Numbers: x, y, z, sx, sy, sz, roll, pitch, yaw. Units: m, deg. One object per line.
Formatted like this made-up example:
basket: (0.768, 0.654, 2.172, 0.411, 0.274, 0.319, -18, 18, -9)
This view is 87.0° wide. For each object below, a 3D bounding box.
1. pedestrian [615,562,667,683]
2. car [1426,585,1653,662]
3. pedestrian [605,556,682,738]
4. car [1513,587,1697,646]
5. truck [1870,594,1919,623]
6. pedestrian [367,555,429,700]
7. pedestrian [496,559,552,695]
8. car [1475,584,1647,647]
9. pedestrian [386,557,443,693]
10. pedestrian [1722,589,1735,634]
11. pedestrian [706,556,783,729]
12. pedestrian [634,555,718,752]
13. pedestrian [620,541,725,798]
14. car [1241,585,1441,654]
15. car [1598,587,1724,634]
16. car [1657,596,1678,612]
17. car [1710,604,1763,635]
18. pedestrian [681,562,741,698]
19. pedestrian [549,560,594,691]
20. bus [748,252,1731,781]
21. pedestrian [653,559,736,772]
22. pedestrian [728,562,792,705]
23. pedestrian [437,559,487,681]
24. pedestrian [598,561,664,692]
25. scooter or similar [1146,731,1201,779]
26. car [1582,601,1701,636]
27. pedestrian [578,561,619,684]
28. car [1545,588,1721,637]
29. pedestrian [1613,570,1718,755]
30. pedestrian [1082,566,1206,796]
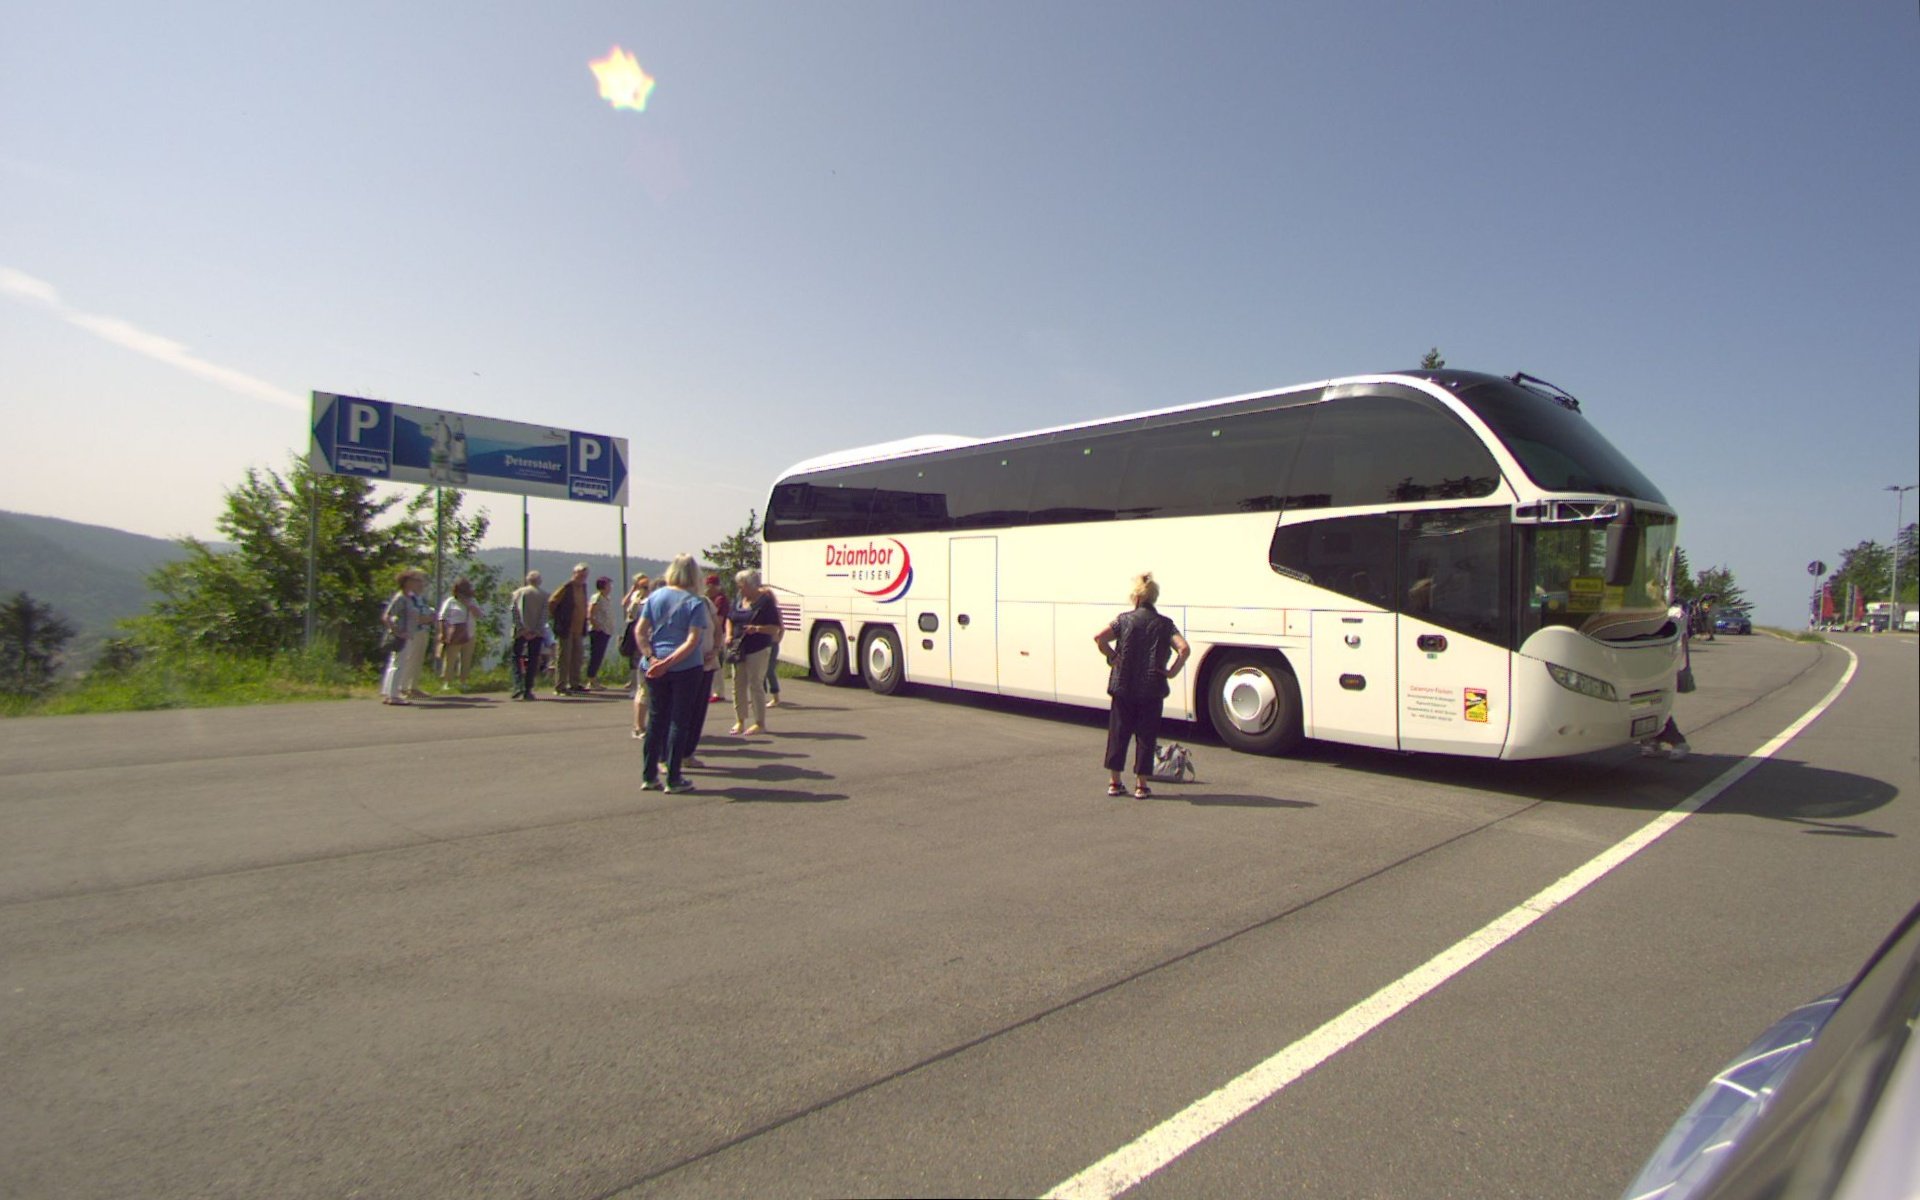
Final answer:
pedestrian: (-4.666, 0.320, 14.795, 0.615, 1.718, 0.633, 1, 0, -26)
car: (12.919, 0.460, 22.747, 1.644, 1.563, 4.134, 1, 0, -43)
pedestrian: (-3.119, 0.439, 9.956, 0.615, 1.718, 0.633, 1, 0, -26)
car: (19.421, 0.460, 30.569, 4.469, 1.647, 1.984, 0, -1, 41)
truck: (100.321, 0.905, 106.450, 8.576, 2.865, 2.877, 1, 1, -17)
pedestrian: (-6.895, 0.326, 12.435, 0.615, 1.718, 0.633, 1, 0, -26)
pedestrian: (-5.679, 0.333, 13.171, 0.615, 1.718, 0.633, 1, 0, -26)
car: (16.810, 0.429, 28.400, 3.875, 1.636, 1.683, -1, -1, 43)
pedestrian: (-7.111, 0.307, 13.216, 0.615, 1.718, 0.633, 1, 0, -26)
pedestrian: (32.329, 0.484, 42.582, 0.366, 1.845, 0.541, 2, 1, 39)
pedestrian: (-2.209, 0.415, 10.351, 0.615, 1.700, 0.633, 1, 0, -26)
pedestrian: (-2.602, 0.464, 9.240, 0.615, 1.719, 0.633, 1, 0, -26)
pedestrian: (-2.111, 0.475, 7.410, 0.615, 1.780, 0.633, 1, 0, -26)
car: (8.693, 0.407, 23.334, 1.736, 1.438, 3.994, 0, 0, -41)
car: (30.061, 0.420, 43.469, 4.307, 1.845, 1.971, 1, 0, 40)
car: (90.694, 0.473, 129.733, 1.985, 2.039, 3.955, 1, 1, 32)
car: (42.561, 1.027, 55.535, 1.986, 1.565, 3.951, 2, 1, 34)
pedestrian: (-3.241, 0.376, 13.157, 0.615, 1.718, 0.633, 1, 0, -26)
pedestrian: (-5.276, 0.329, 13.729, 0.498, 1.718, 0.633, 1, 0, -26)
bus: (1.518, -0.732, 12.864, 2.787, 3.622, 12.879, 0, 1, -38)
pedestrian: (-2.193, 0.513, 8.358, 0.615, 1.671, 0.633, 1, 0, -16)
pedestrian: (-2.499, 0.399, 12.621, 0.615, 1.718, 0.633, 1, 0, -26)
pedestrian: (-7.186, 0.279, 14.614, 0.615, 1.718, 0.633, 1, 0, -26)
pedestrian: (-4.434, 0.345, 13.674, 0.621, 1.718, 0.626, 1, 0, 9)
scooter or similar: (1.694, 1.227, 8.042, 0.320, 0.315, 0.286, 1, 1, -31)
car: (26.320, 0.697, 39.160, 3.694, 1.285, 1.541, 0, -1, 40)
pedestrian: (-5.180, 0.317, 14.484, 0.475, 1.718, 0.469, 1, 0, -26)
car: (24.421, 0.498, 36.842, 5.095, 1.640, 1.970, -2, -2, 41)
pedestrian: (6.679, 0.559, 9.583, 0.742, 1.664, 0.698, 0, -1, 42)
pedestrian: (1.333, 0.554, 7.378, 0.615, 1.586, 0.633, 1, 0, -26)
